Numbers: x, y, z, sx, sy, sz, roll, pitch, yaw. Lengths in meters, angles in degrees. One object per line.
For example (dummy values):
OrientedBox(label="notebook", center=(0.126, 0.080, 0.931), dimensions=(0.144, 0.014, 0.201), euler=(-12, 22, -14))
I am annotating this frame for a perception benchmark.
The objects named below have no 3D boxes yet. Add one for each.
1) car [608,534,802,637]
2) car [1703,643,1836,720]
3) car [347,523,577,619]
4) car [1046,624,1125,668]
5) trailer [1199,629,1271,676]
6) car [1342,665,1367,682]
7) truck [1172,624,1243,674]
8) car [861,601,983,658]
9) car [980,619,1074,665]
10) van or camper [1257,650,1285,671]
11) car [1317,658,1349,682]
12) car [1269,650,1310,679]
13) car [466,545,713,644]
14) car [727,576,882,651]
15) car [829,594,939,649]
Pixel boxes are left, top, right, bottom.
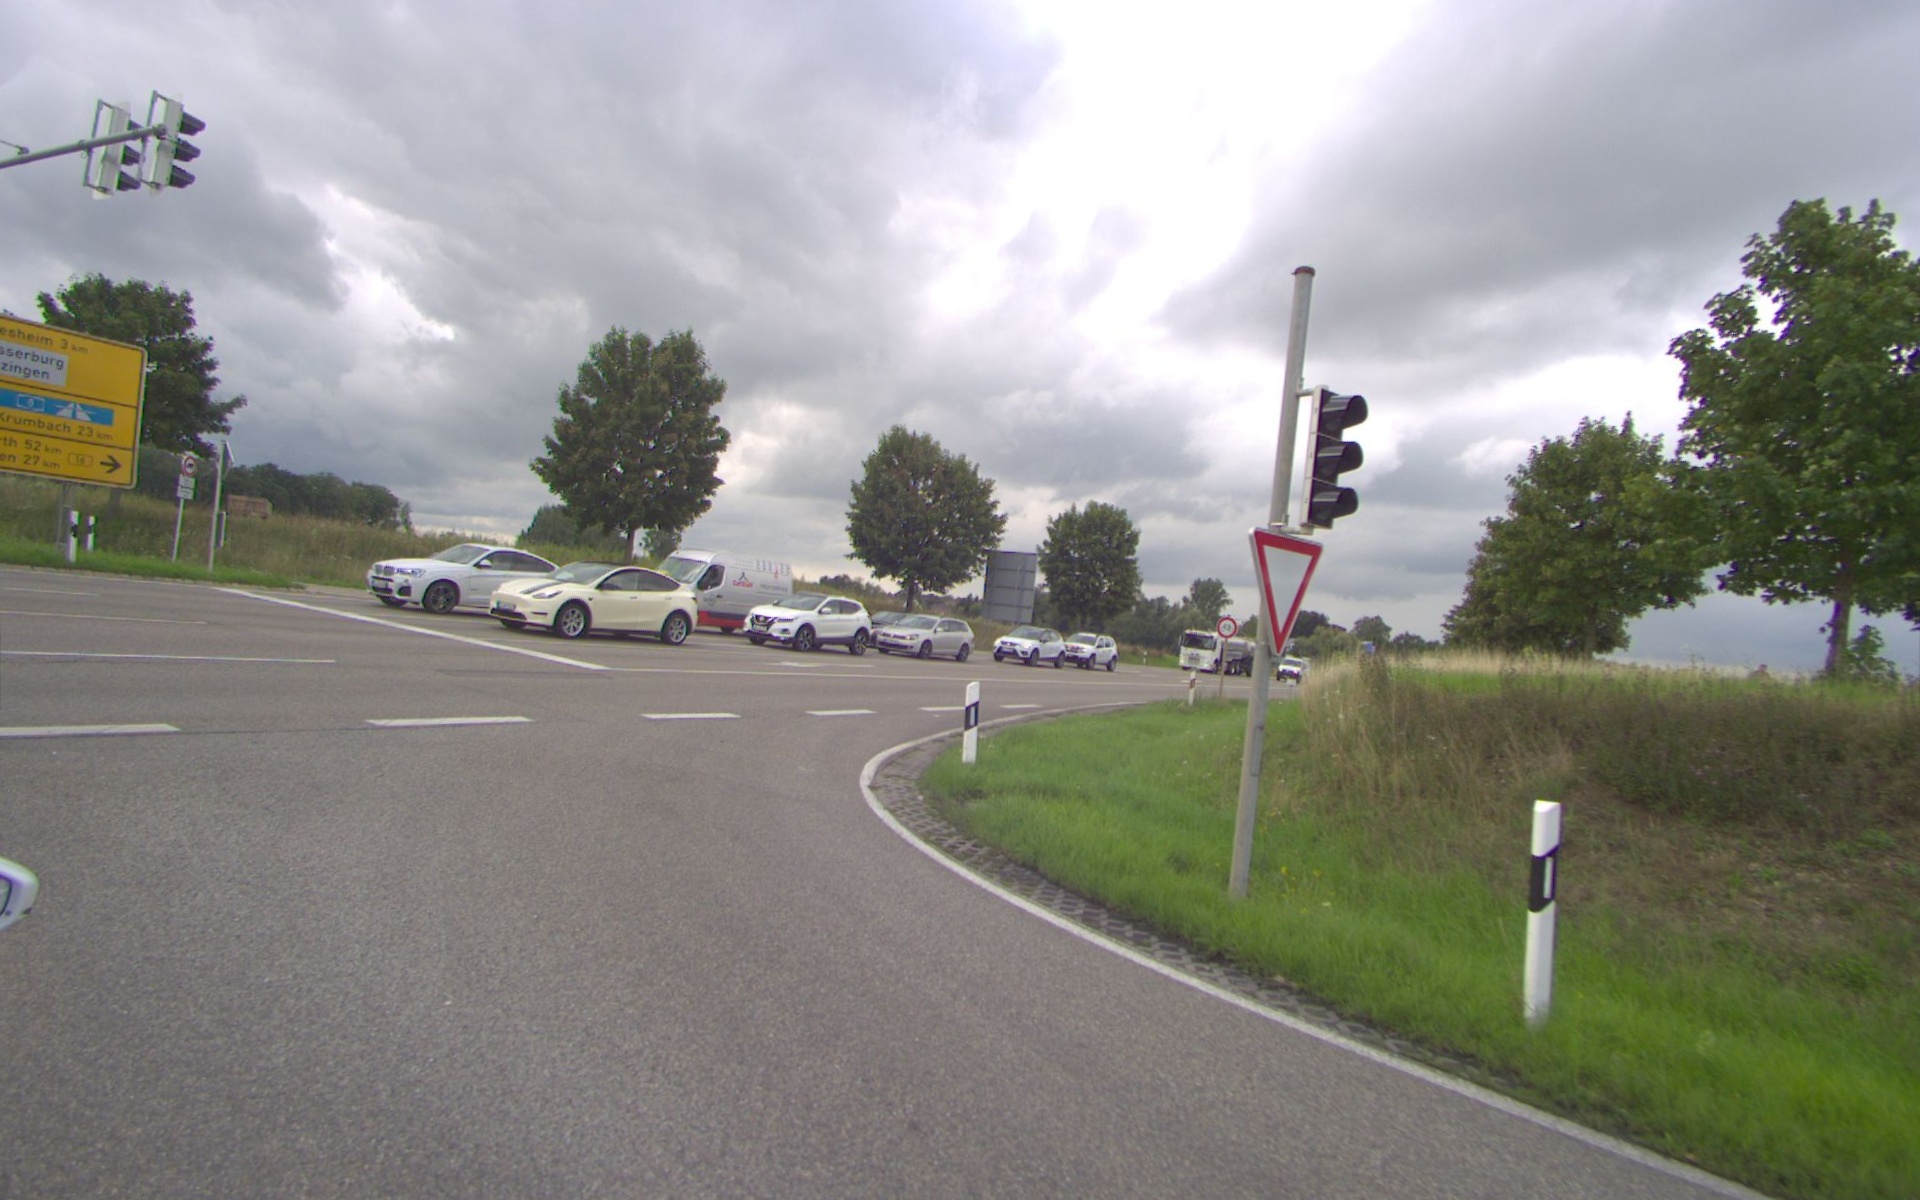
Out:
OrientedBox(label="car", center=(-7.560, -0.343, 30.491), dimensions=(2.358, 2.471, 5.506), euler=(6, -1, 29))
OrientedBox(label="car", center=(25.128, 2.526, 31.412), dimensions=(1.963, 2.037, 4.001), euler=(5, -2, 21))
OrientedBox(label="car", center=(-11.229, -0.593, 23.027), dimensions=(1.966, 1.648, 4.270), euler=(6, -1, 28))
OrientedBox(label="car", center=(5.811, 2.135, 46.191), dimensions=(1.965, 1.611, 4.442), euler=(7, -1, 28))
OrientedBox(label="trailer", center=(22.838, 4.430, 83.082), dimensions=(3.055, 3.128, 10.649), euler=(7, -1, 29))
OrientedBox(label="car", center=(43.829, 8.158, 111.710), dimensions=(2.131, 1.615, 4.753), euler=(7, -1, 25))
OrientedBox(label="truck", center=(18.579, 3.718, 75.144), dimensions=(3.055, 3.146, 7.398), euler=(7, -1, 29))
OrientedBox(label="car", center=(-1.195, 1.046, 33.968), dimensions=(1.965, 1.472, 4.576), euler=(7, -1, 28))
OrientedBox(label="car", center=(2.778, 1.719, 40.825), dimensions=(1.966, 1.435, 4.441), euler=(7, -1, 30))
OrientedBox(label="van or camper", center=(33.532, 6.534, 108.446), dimensions=(1.966, 2.037, 3.995), euler=(5, -2, 29))
OrientedBox(label="car", center=(37.513, 7.023, 101.112), dimensions=(2.133, 2.038, 4.521), euler=(7, -1, 30))
OrientedBox(label="car", center=(27.207, 5.325, 82.962), dimensions=(2.133, 2.038, 4.673), euler=(7, -1, 30))
OrientedBox(label="car", center=(-7.719, -0.039, 21.484), dimensions=(1.966, 1.583, 4.743), euler=(6, -2, 28))
OrientedBox(label="car", center=(-4.268, 0.431, 28.320), dimensions=(1.966, 1.649, 4.318), euler=(6, -1, 29))
OrientedBox(label="car", center=(-2.769, 0.840, 37.709), dimensions=(1.966, 1.648, 4.270), euler=(6, -1, 29))
